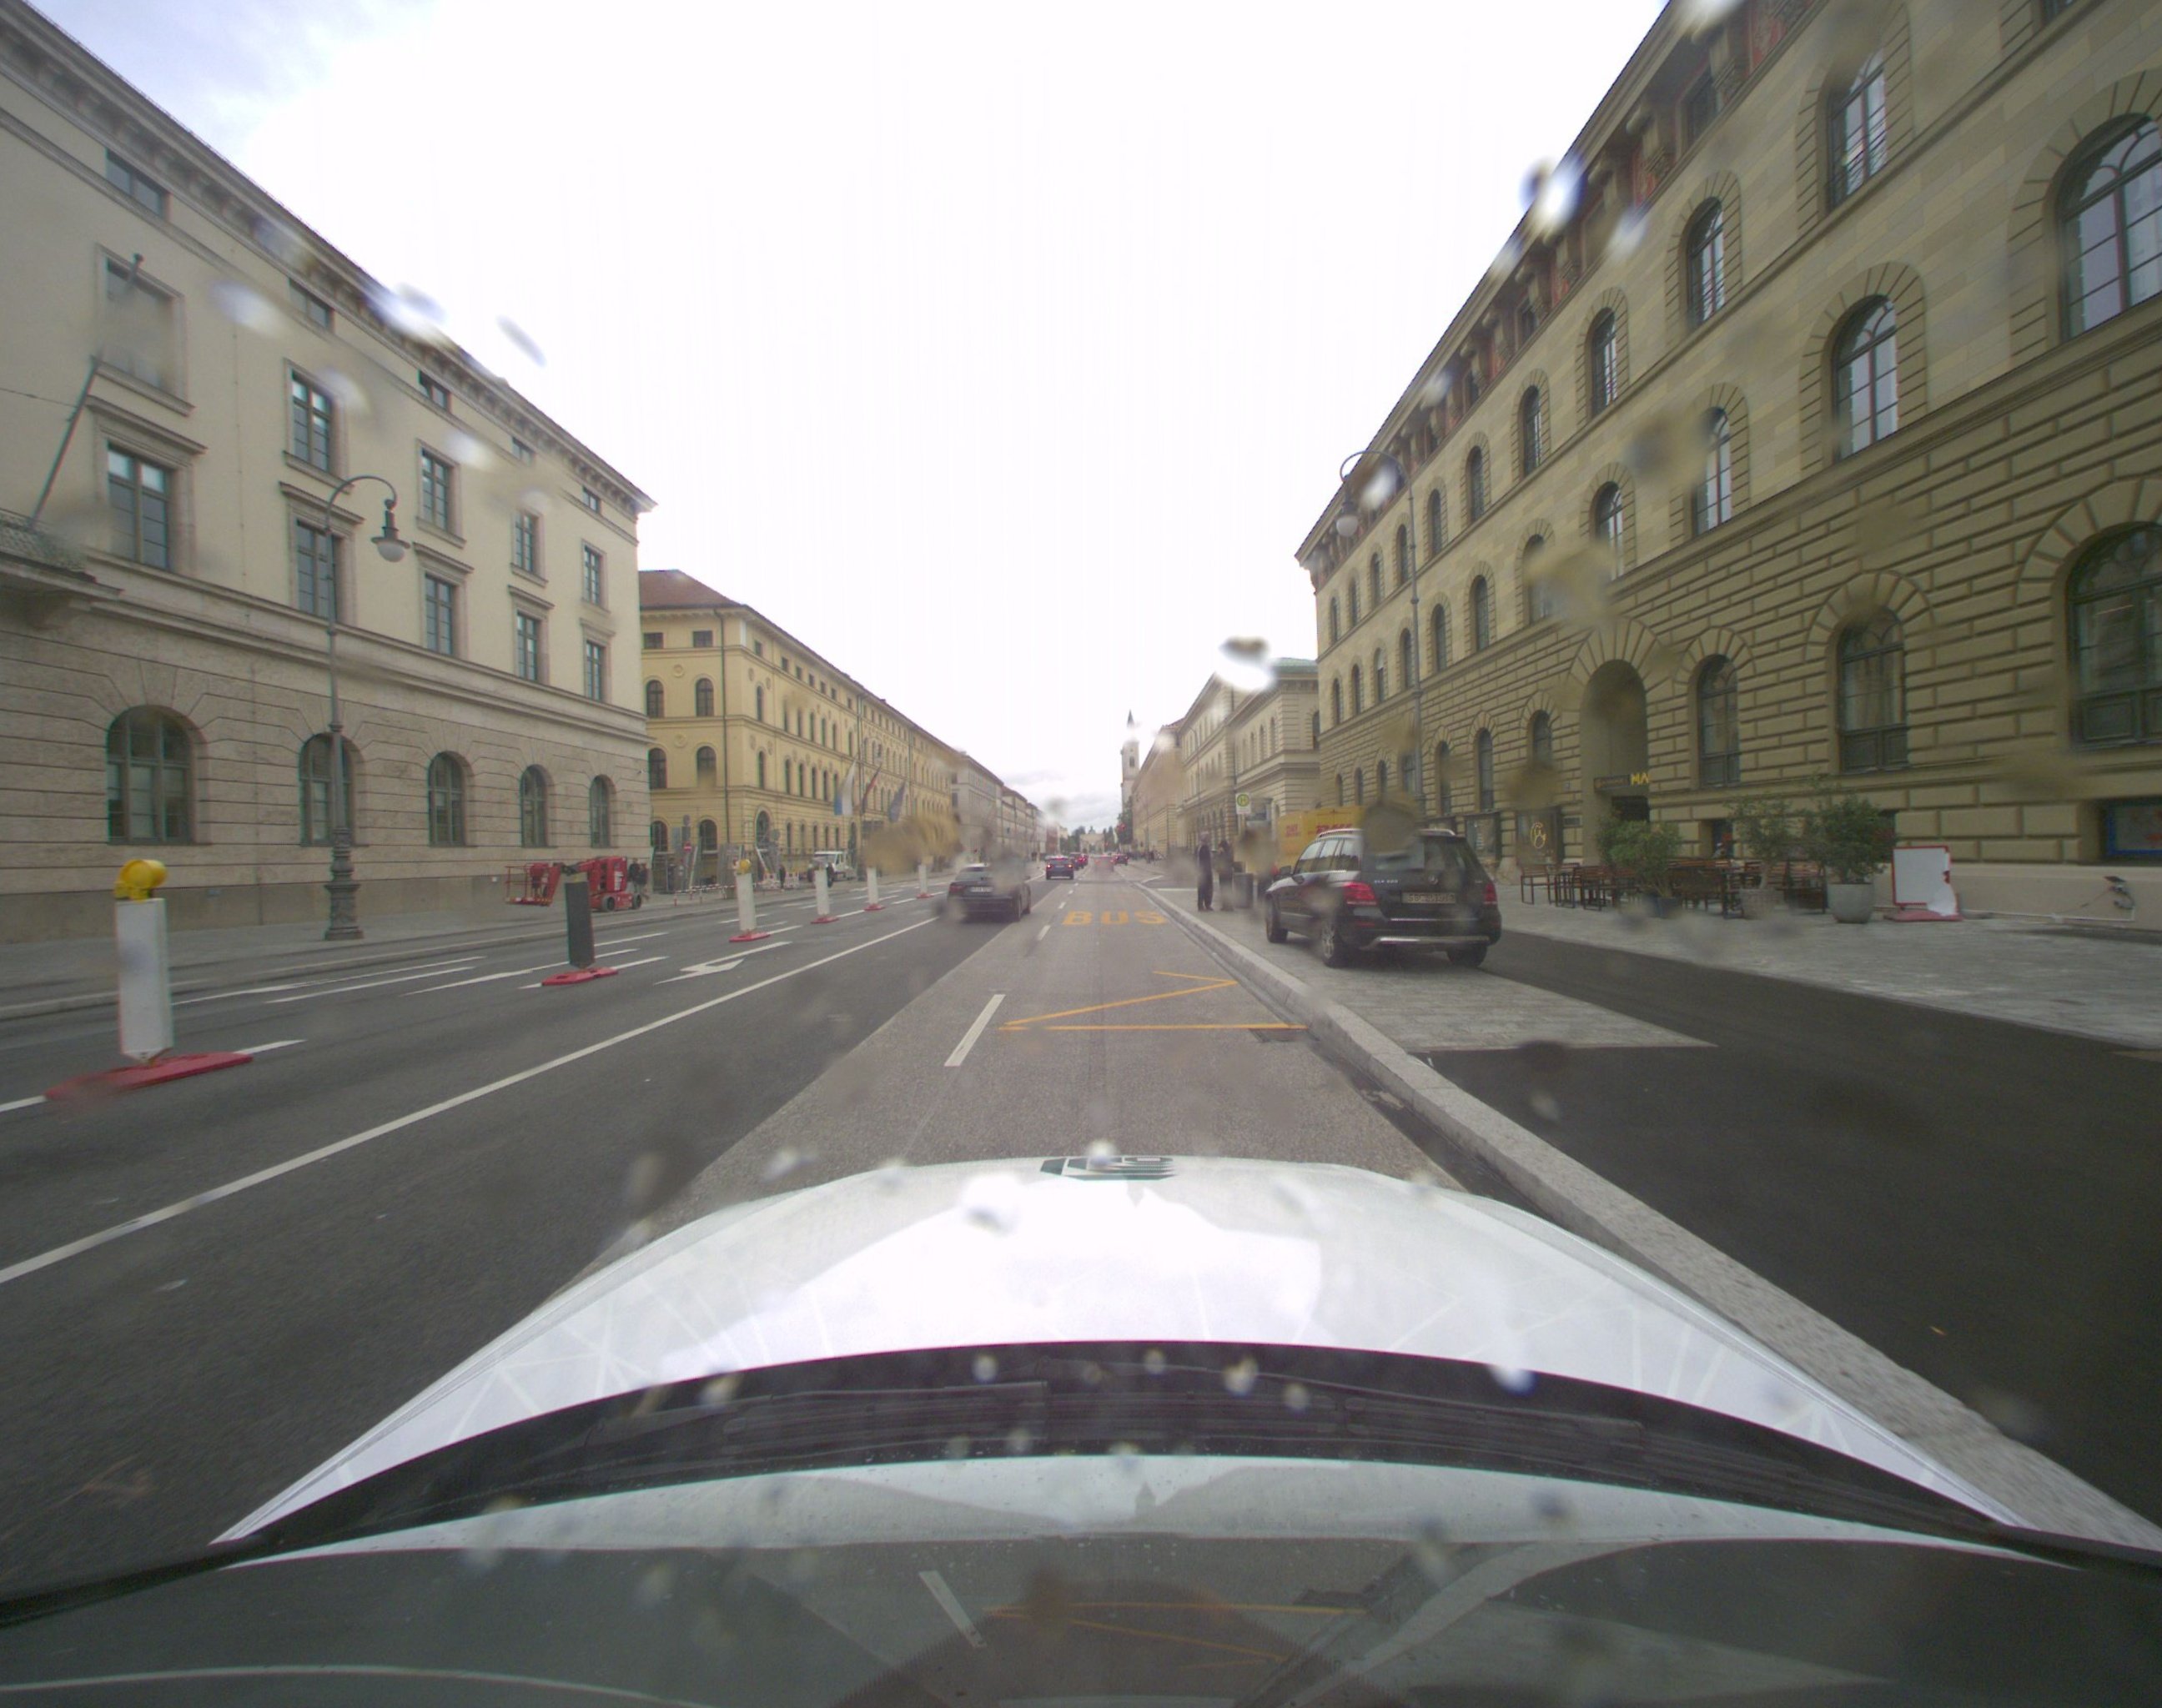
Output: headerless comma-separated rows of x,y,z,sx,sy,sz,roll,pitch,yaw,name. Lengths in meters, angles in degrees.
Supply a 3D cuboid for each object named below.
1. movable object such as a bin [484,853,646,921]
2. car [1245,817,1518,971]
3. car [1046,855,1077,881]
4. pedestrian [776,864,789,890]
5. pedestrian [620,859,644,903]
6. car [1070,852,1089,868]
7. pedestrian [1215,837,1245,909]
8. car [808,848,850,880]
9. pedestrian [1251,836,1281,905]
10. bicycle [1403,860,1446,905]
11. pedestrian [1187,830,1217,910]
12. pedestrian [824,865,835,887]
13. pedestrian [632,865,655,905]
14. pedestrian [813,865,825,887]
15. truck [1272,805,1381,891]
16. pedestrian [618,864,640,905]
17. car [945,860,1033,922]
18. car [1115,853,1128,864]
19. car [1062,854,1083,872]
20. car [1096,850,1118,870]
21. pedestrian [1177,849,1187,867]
-17.155,1.054,27.559,1.505,2.014,5.977,-2,-1,2,movable object such as a bin
3.712,0.443,11.006,2.063,1.662,4.220,-1,0,-1,car
-1.218,0.904,52.278,1.762,1.617,4.001,-2,-1,2,car
-17.981,1.402,49.123,0.551,1.530,0.617,-1,-2,-2,pedestrian
-20.338,1.222,36.891,0.677,1.931,0.651,-1,-2,-2,pedestrian
-0.139,0.717,94.003,1.986,1.772,4.001,-2,0,2,car
3.562,0.452,19.535,0.613,1.702,0.542,-2,-2,4,pedestrian
-18.989,0.795,61.465,1.732,2.289,4.001,-2,-1,2,car
4.638,0.419,20.426,0.613,1.702,0.542,-2,-2,4,pedestrian
8.181,0.673,19.430,0.515,1.022,1.654,-2,-1,8,bicycle
2.902,0.384,19.564,0.612,1.875,0.542,-2,-2,5,pedestrian
-16.508,1.454,53.529,0.538,1.411,0.617,-1,-2,-2,pedestrian
-18.455,1.309,34.363,0.610,1.652,0.617,-1,-2,-2,pedestrian
-17.211,1.453,53.503,0.538,1.406,0.617,-1,-2,-2,pedestrian
8.765,-0.145,29.736,2.610,2.765,5.814,-2,-1,5,truck
-19.054,1.285,34.321,0.551,1.676,0.617,-1,-2,-2,pedestrian
-2.233,0.868,20.727,1.858,1.388,3.998,-1,0,-1,car
6.083,0.735,121.441,1.853,1.579,4.001,-2,-1,2,car
-0.832,0.938,83.598,1.986,1.772,4.001,-2,0,2,car
2.437,0.565,77.486,1.986,1.772,4.001,-2,0,2,car
9.363,0.372,75.646,0.794,1.690,0.800,-2,-1,1,pedestrian
